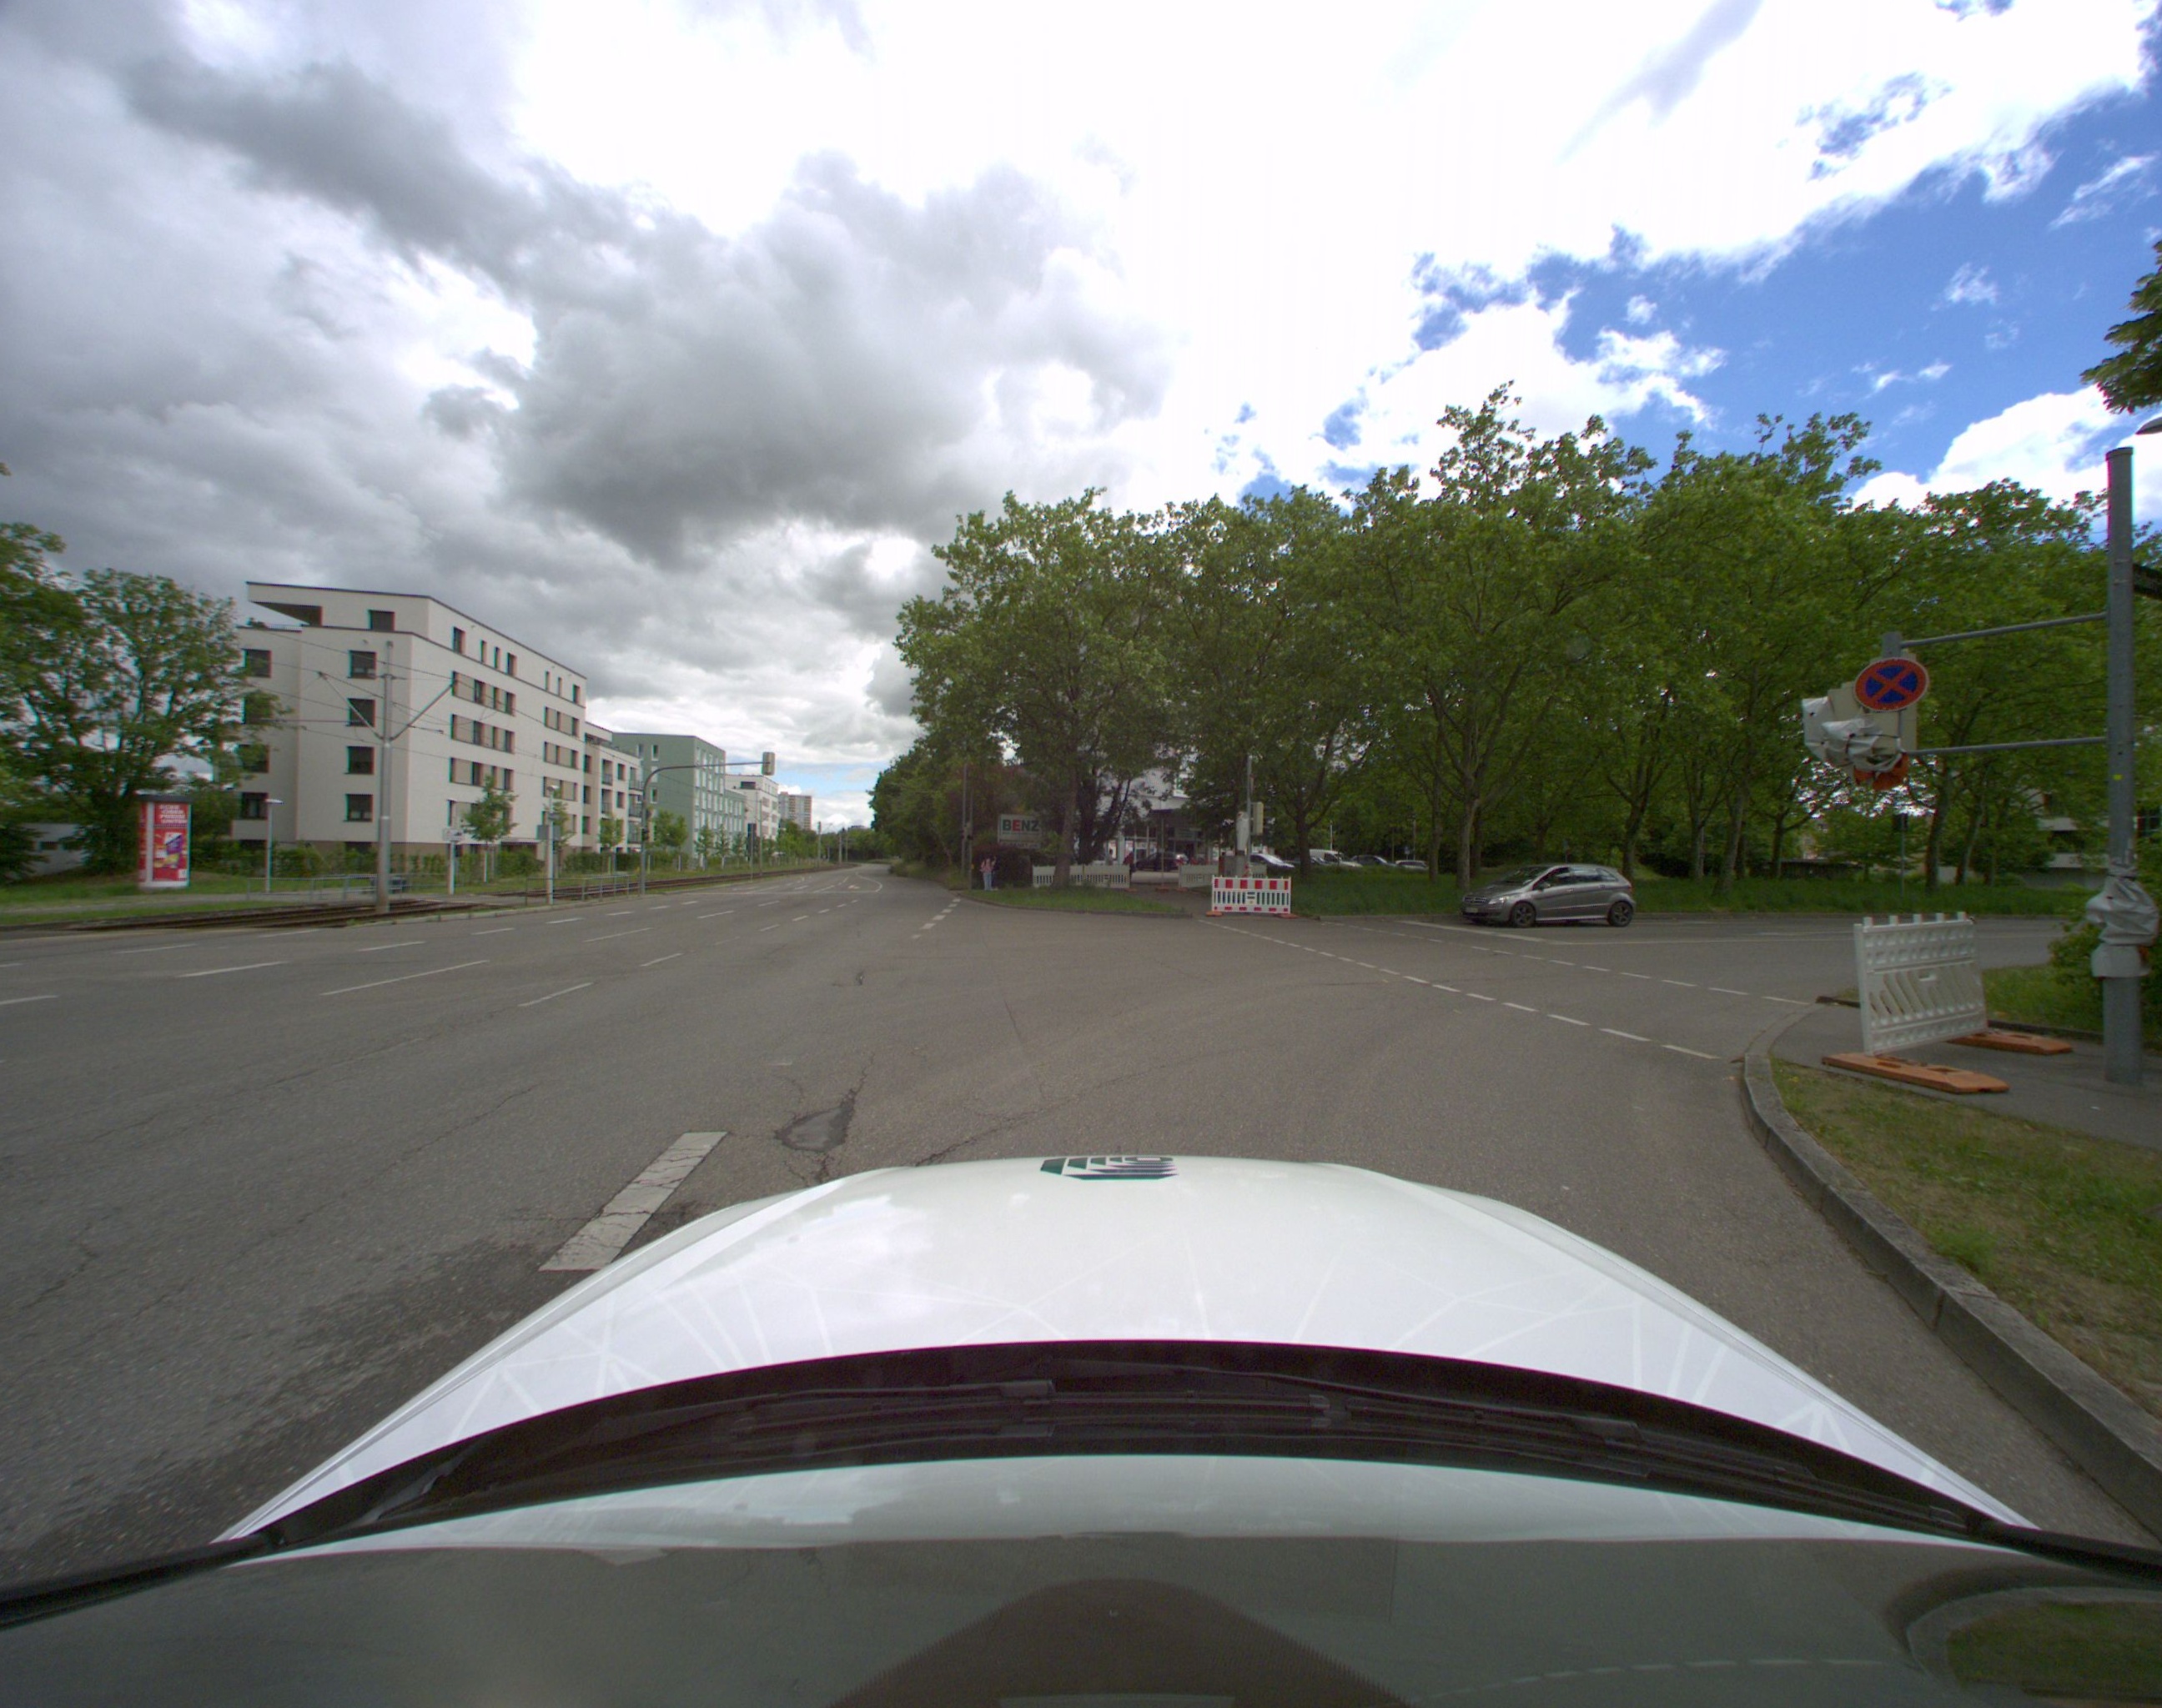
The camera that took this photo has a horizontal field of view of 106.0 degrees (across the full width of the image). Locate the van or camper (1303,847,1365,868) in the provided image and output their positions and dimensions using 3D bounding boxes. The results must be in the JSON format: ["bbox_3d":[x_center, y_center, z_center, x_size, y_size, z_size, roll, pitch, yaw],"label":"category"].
[{"bbox_3d":[16.972,0.276,54.775,1.526,1.356,3.730,1,-2,-41],"label":"van or camper"}]

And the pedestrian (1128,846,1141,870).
[{"bbox_3d":[3.938,0.315,59.639,0.623,1.745,0.731,1,-2,-38],"label":"pedestrian"}]

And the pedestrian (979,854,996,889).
[{"bbox_3d":[-4.051,0.766,35.355,0.696,1.489,0.686,0,-1,-7],"label":"pedestrian"}]

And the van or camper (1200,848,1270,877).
[{"bbox_3d":[9.182,0.492,48.792,1.854,1.684,3.956,0,0,-36],"label":"van or camper"}]

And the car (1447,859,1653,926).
[{"bbox_3d":[11.797,0.947,20.619,4.394,1.586,1.768,0,-1,-8],"label":"car"}]

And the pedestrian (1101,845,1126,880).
[{"bbox_3d":[1.482,0.409,37.322,0.786,1.586,0.856,-1,-2,39],"label":"pedestrian"}]

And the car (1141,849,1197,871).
[{"bbox_3d":[6.340,0.470,58.957,1.741,1.500,4.223,1,-1,-35],"label":"car"}]

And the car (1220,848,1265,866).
[{"bbox_3d":[13.040,0.246,65.802,1.492,1.404,3.369,1,-2,-39],"label":"car"}]

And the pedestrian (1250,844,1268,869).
[{"bbox_3d":[11.365,0.191,52.027,0.795,1.586,0.795,1,-1,-17],"label":"pedestrian"}]

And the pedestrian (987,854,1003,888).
[{"bbox_3d":[-3.809,0.770,36.125,0.696,1.489,0.719,0,-1,-5],"label":"pedestrian"}]

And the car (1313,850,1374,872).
[{"bbox_3d":[18.396,0.505,57.199,1.492,1.465,3.847,1,-2,-39],"label":"car"}]

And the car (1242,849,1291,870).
[{"bbox_3d":[15.425,0.430,67.856,1.681,1.634,3.778,1,0,-39],"label":"car"}]

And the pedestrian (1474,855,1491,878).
[{"bbox_3d":[34.740,1.071,70.533,0.974,1.950,1.091,1,-1,45],"label":"pedestrian"}]

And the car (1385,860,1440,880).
[{"bbox_3d":[26.288,1.265,64.675,1.741,1.500,3.704,1,-1,-35],"label":"car"}]

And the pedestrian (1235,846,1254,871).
[{"bbox_3d":[12.460,0.352,62.200,1.075,1.871,1.053,1,-1,-18],"label":"pedestrian"}]

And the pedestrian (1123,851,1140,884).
[{"bbox_3d":[2.412,0.653,38.570,0.766,1.539,0.656,0,-1,7],"label":"pedestrian"}]
